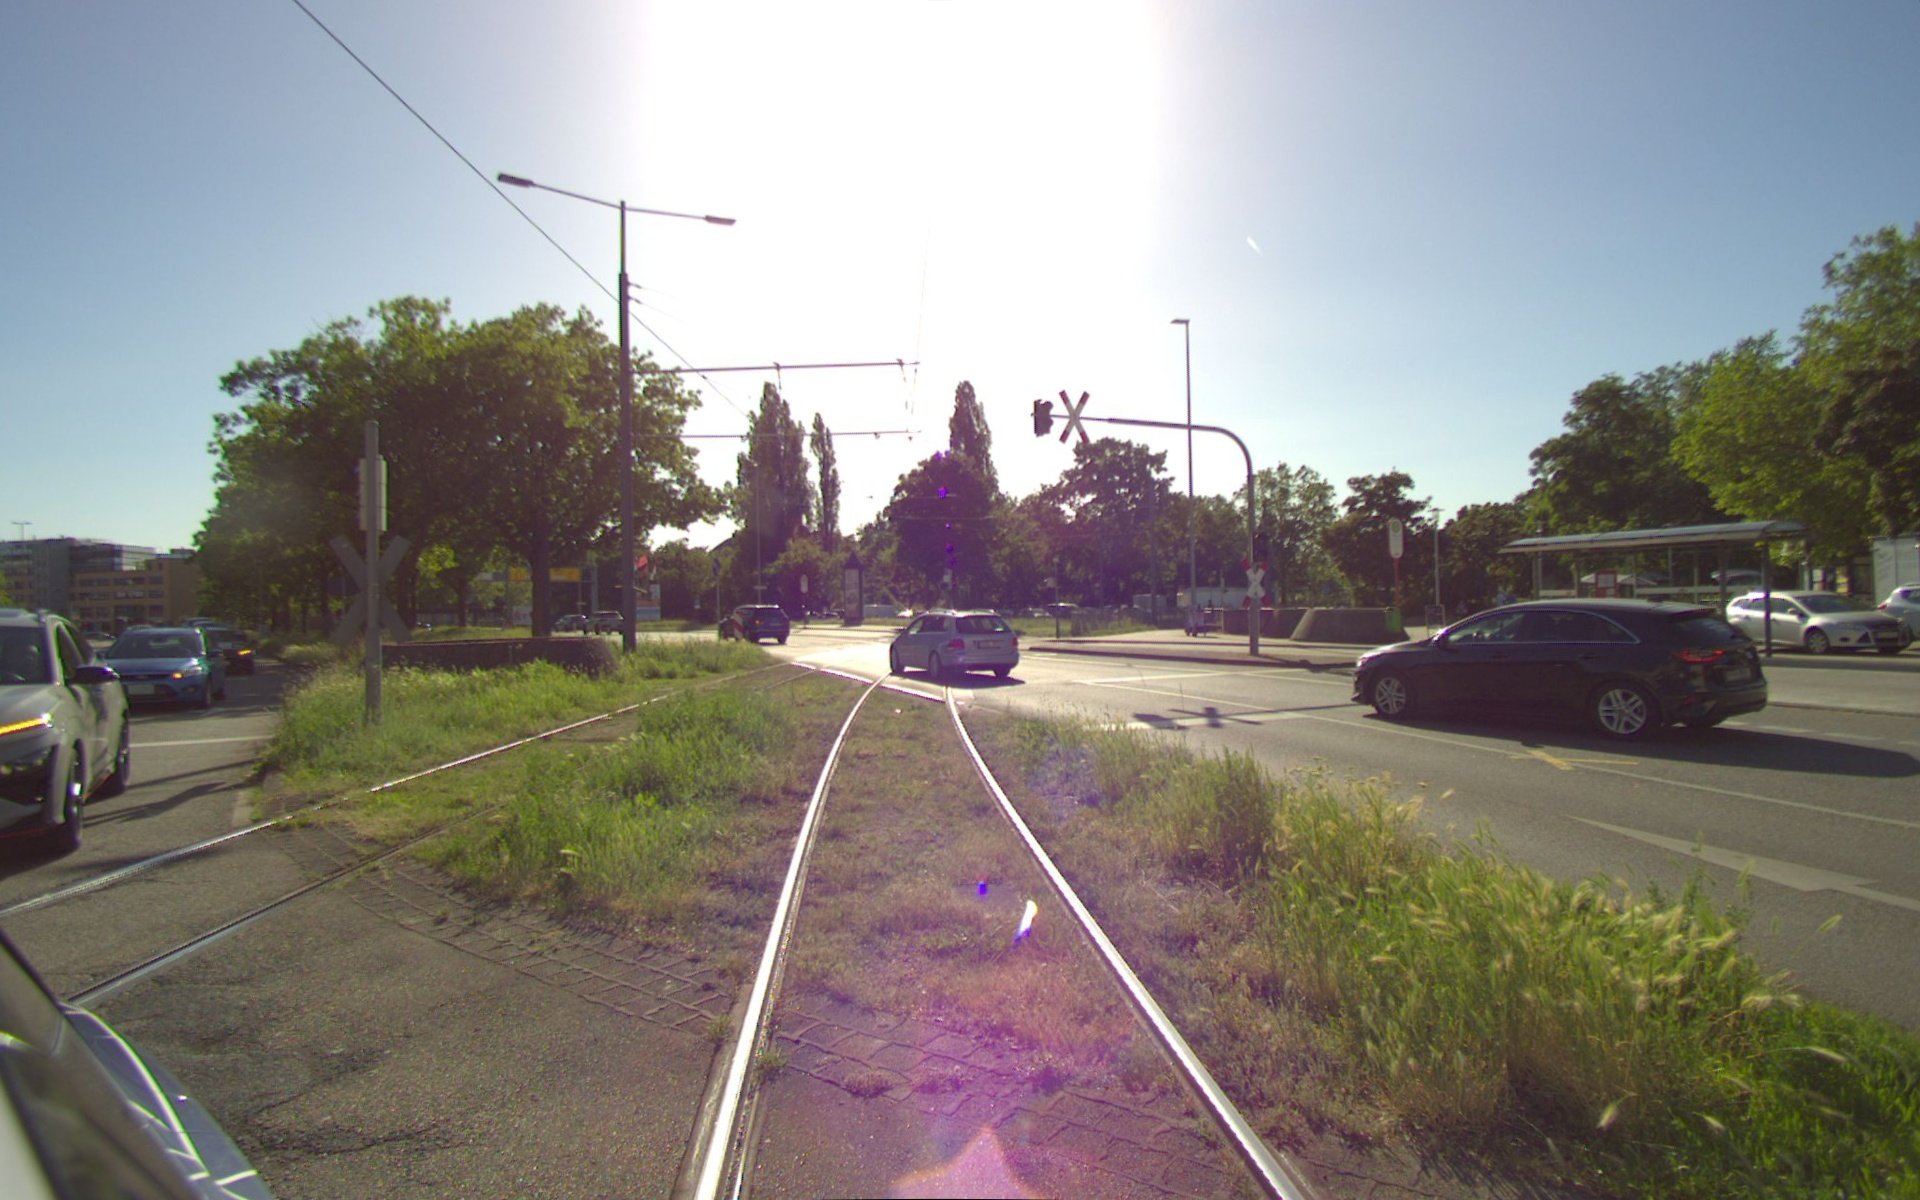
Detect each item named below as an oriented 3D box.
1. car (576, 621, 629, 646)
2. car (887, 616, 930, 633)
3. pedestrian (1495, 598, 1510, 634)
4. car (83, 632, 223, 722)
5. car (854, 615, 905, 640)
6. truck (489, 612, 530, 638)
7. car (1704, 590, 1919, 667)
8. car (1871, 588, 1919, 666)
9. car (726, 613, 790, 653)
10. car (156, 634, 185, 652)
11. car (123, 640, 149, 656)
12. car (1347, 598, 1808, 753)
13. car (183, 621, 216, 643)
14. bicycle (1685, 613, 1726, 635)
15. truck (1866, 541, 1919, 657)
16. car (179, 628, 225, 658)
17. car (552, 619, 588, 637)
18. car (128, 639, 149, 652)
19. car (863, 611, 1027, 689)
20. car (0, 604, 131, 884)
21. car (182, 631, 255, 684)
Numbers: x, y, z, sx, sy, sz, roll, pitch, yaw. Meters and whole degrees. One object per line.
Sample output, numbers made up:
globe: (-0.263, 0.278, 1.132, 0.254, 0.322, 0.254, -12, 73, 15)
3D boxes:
car: (-23.710, 2.199, 67.061, 1.968, 1.574, 4.395, -1, -1, -39)
car: (-4.302, 2.058, 85.547, 1.989, 1.292, 3.966, -2, -1, 25)
pedestrian: (27.680, 0.823, 51.631, 0.559, 1.843, 0.718, -2, -1, 37)
car: (-15.244, 1.373, 19.299, 1.683, 1.475, 4.011, -1, -1, -33)
car: (-6.921, 2.359, 87.436, 2.227, 2.029, 4.956, -2, -1, 26)
truck: (-43.036, 2.387, 96.646, 4.102, 2.445, 1.772, -2, -1, 36)
car: (20.354, 0.632, 24.239, 1.849, 1.555, 4.543, -4, -1, 4)
car: (22.889, 0.547, 22.143, 1.735, 1.730, 4.009, -4, -1, -12)
car: (-9.041, 1.448, 44.997, 1.728, 1.626, 4.738, -1, -1, -25)
car: (-70.770, 3.856, 90.768, 1.800, 1.484, 4.010, -1, -1, -35)
car: (-84.749, 4.898, 104.124, 1.968, 1.544, 4.008, 0, -2, -38)
car: (6.681, 0.739, 11.483, 1.637, 1.402, 4.162, -1, -1, -29)
car: (-58.743, 2.495, 78.199, 1.717, 1.560, 4.011, -2, 0, -34)
bicycle: (28.982, 0.924, 39.373, 0.541, 0.845, 1.681, -1, -1, 8)
truck: (27.202, -0.096, 26.543, 4.766, 3.017, 1.998, -2, -1, 4)
car: (-38.568, 2.168, 51.556, 1.754, 1.416, 4.010, -1, -1, -35)
car: (-33.119, 2.368, 85.919, 1.641, 1.459, 4.411, -1, -1, -38)
car: (-100.698, 5.524, 124.105, 1.968, 1.544, 4.008, 0, -2, -38)
car: (-0.493, 1.047, 22.498, 1.705, 1.453, 4.898, -3, 0, -25)
car: (-7.049, 0.864, 6.953, 1.752, 1.563, 3.990, -1, -1, -35)
car: (-23.268, 1.746, 31.842, 1.651, 1.519, 3.959, -1, -1, -33)
